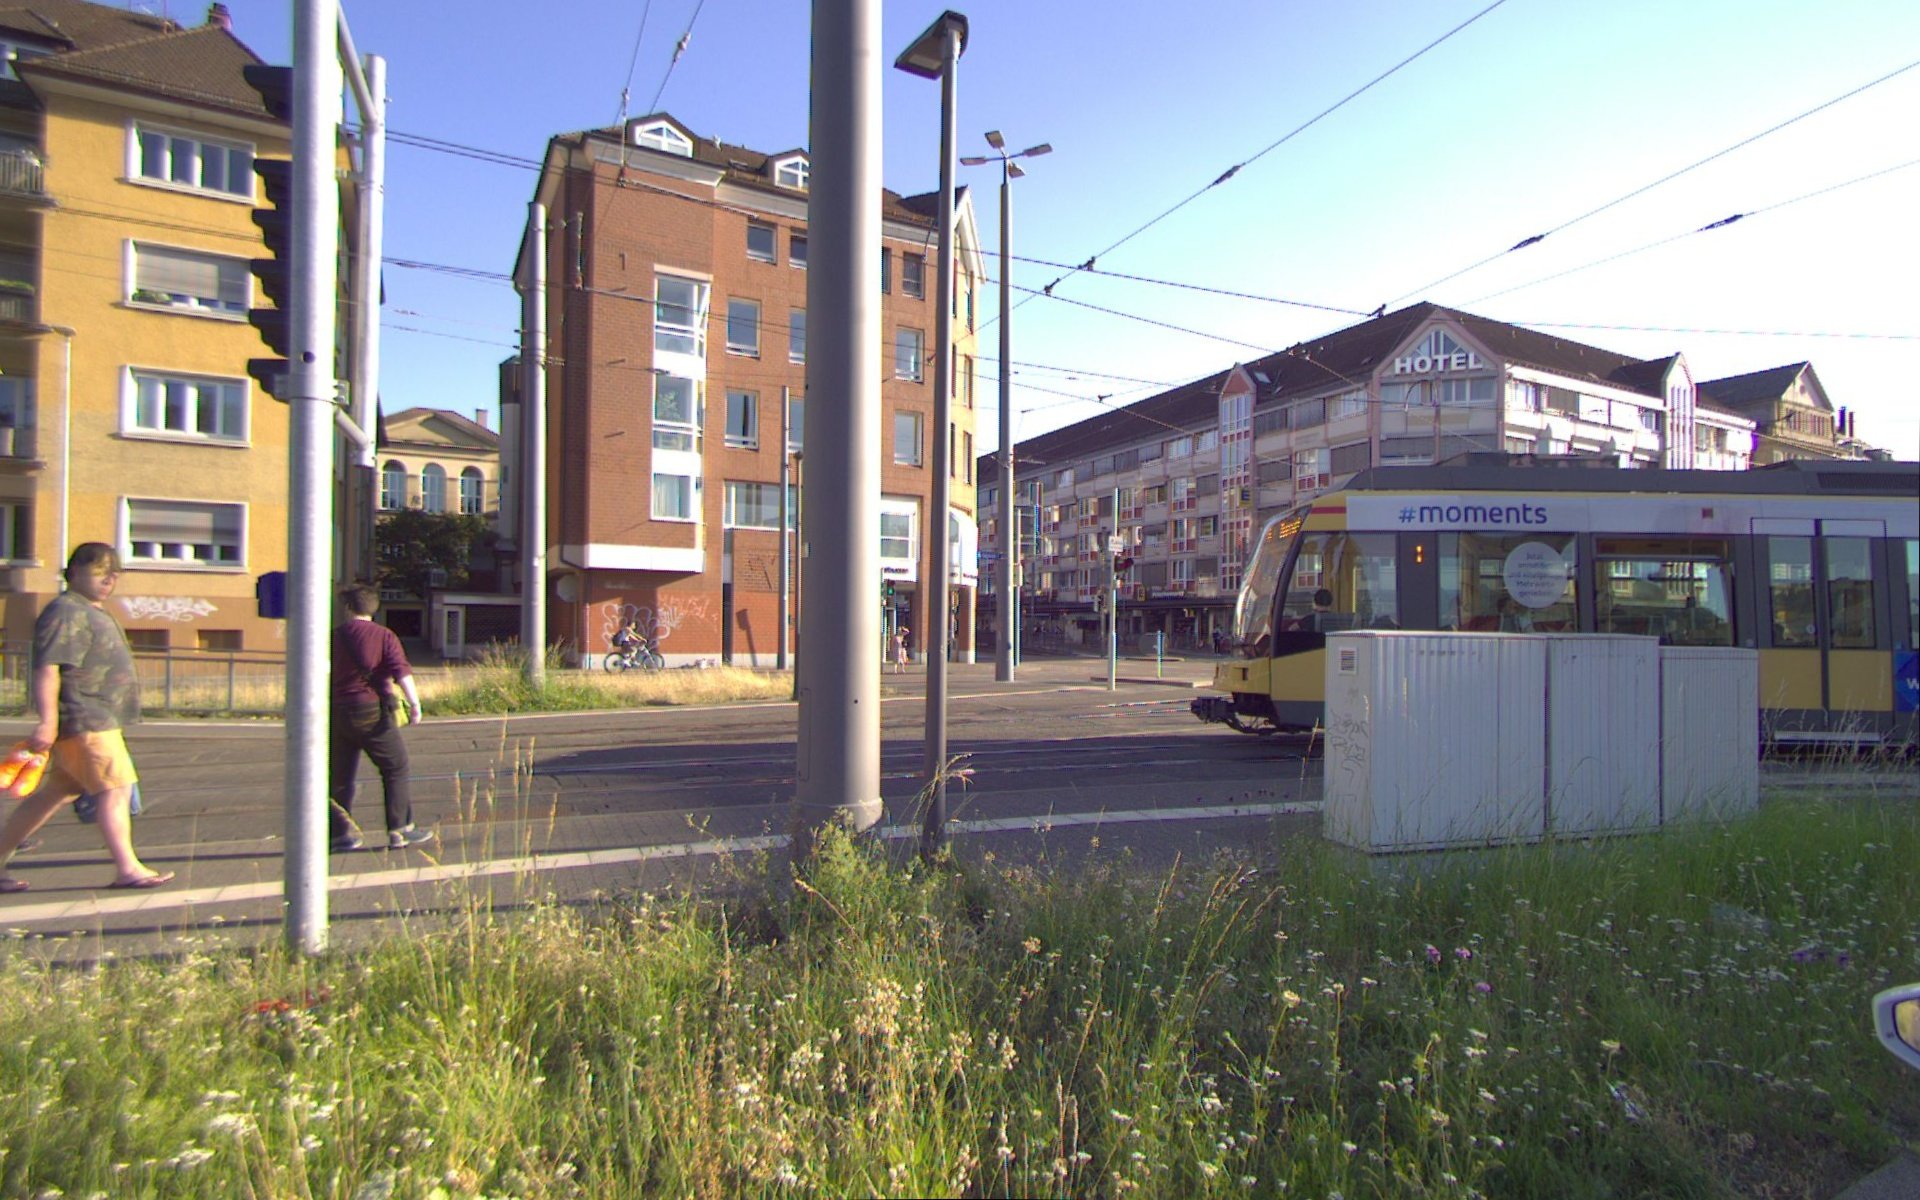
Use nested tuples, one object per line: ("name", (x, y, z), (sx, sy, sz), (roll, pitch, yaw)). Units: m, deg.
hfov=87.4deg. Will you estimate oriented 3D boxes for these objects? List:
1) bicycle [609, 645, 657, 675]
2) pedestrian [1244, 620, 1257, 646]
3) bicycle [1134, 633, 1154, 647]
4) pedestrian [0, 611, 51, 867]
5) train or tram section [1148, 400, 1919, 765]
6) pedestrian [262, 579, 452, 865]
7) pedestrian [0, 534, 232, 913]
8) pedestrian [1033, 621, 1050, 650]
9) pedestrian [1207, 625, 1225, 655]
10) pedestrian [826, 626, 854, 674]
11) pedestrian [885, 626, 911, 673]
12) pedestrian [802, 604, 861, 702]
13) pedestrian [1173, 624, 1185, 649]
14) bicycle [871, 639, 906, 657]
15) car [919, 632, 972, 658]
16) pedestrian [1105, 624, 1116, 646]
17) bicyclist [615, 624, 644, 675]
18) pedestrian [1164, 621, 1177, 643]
("bicycle", (-10.206, 1.867, 31.364), (1.351, 0.929, 0.430), (2, 0, -34))
("pedestrian", (19.633, 2.228, 67.792), (0.612, 1.717, 0.866), (2, 0, 29))
("bicycle", (14.614, 3.181, 79.842), (1.630, 1.134, 0.480), (2, 0, -30))
("pedestrian", (-5.532, 0.753, 5.583), (0.602, 1.378, 0.591), (2, 0, -34))
("train or tram section", (9.330, -0.096, 12.963), (13.097, 3.884, 3.716), (1, -1, 0))
("pedestrian", (-3.583, 0.698, 6.030), (0.775, 1.609, 0.607), (2, 0, -11))
("pedestrian", (-4.467, 0.581, 5.129), (0.882, 1.781, 0.776), (2, 0, -1))
("pedestrian", (4.770, 2.073, 58.815), (0.769, 1.682, 0.681), (2, 0, -18))
("pedestrian", (14.972, 2.334, 58.734), (0.773, 1.682, 0.677), (2, 0, -35))
("pedestrian", (-4.115, 1.701, 34.552), (0.828, 1.605, 0.681), (2, 0, -15))
("pedestrian", (-2.159, 1.721, 34.998), (0.826, 1.605, 0.683), (2, 0, -5))
("pedestrian", (-2.423, 0.986, 18.924), (0.824, 1.781, 0.687), (2, 0, -44))
("pedestrian", (16.670, 2.751, 76.427), (0.601, 1.877, 0.601), (2, 0, -20))
("bicycle", (-3.929, 2.634, 55.020), (1.813, 0.974, 0.540), (1, 1, -27))
("car", (-0.854, 2.573, 57.524), (1.725, 1.261, 3.916), (2, 0, -22))
("pedestrian", (12.552, 2.885, 83.835), (0.804, 1.802, 0.680), (2, 0, 0))
("bicyclist", (-10.300, 1.546, 31.295), (0.722, 1.564, 0.430), (2, 0, -34))
("pedestrian", (16.059, 2.447, 76.600), (0.606, 1.656, 0.597), (2, -7, -42))
